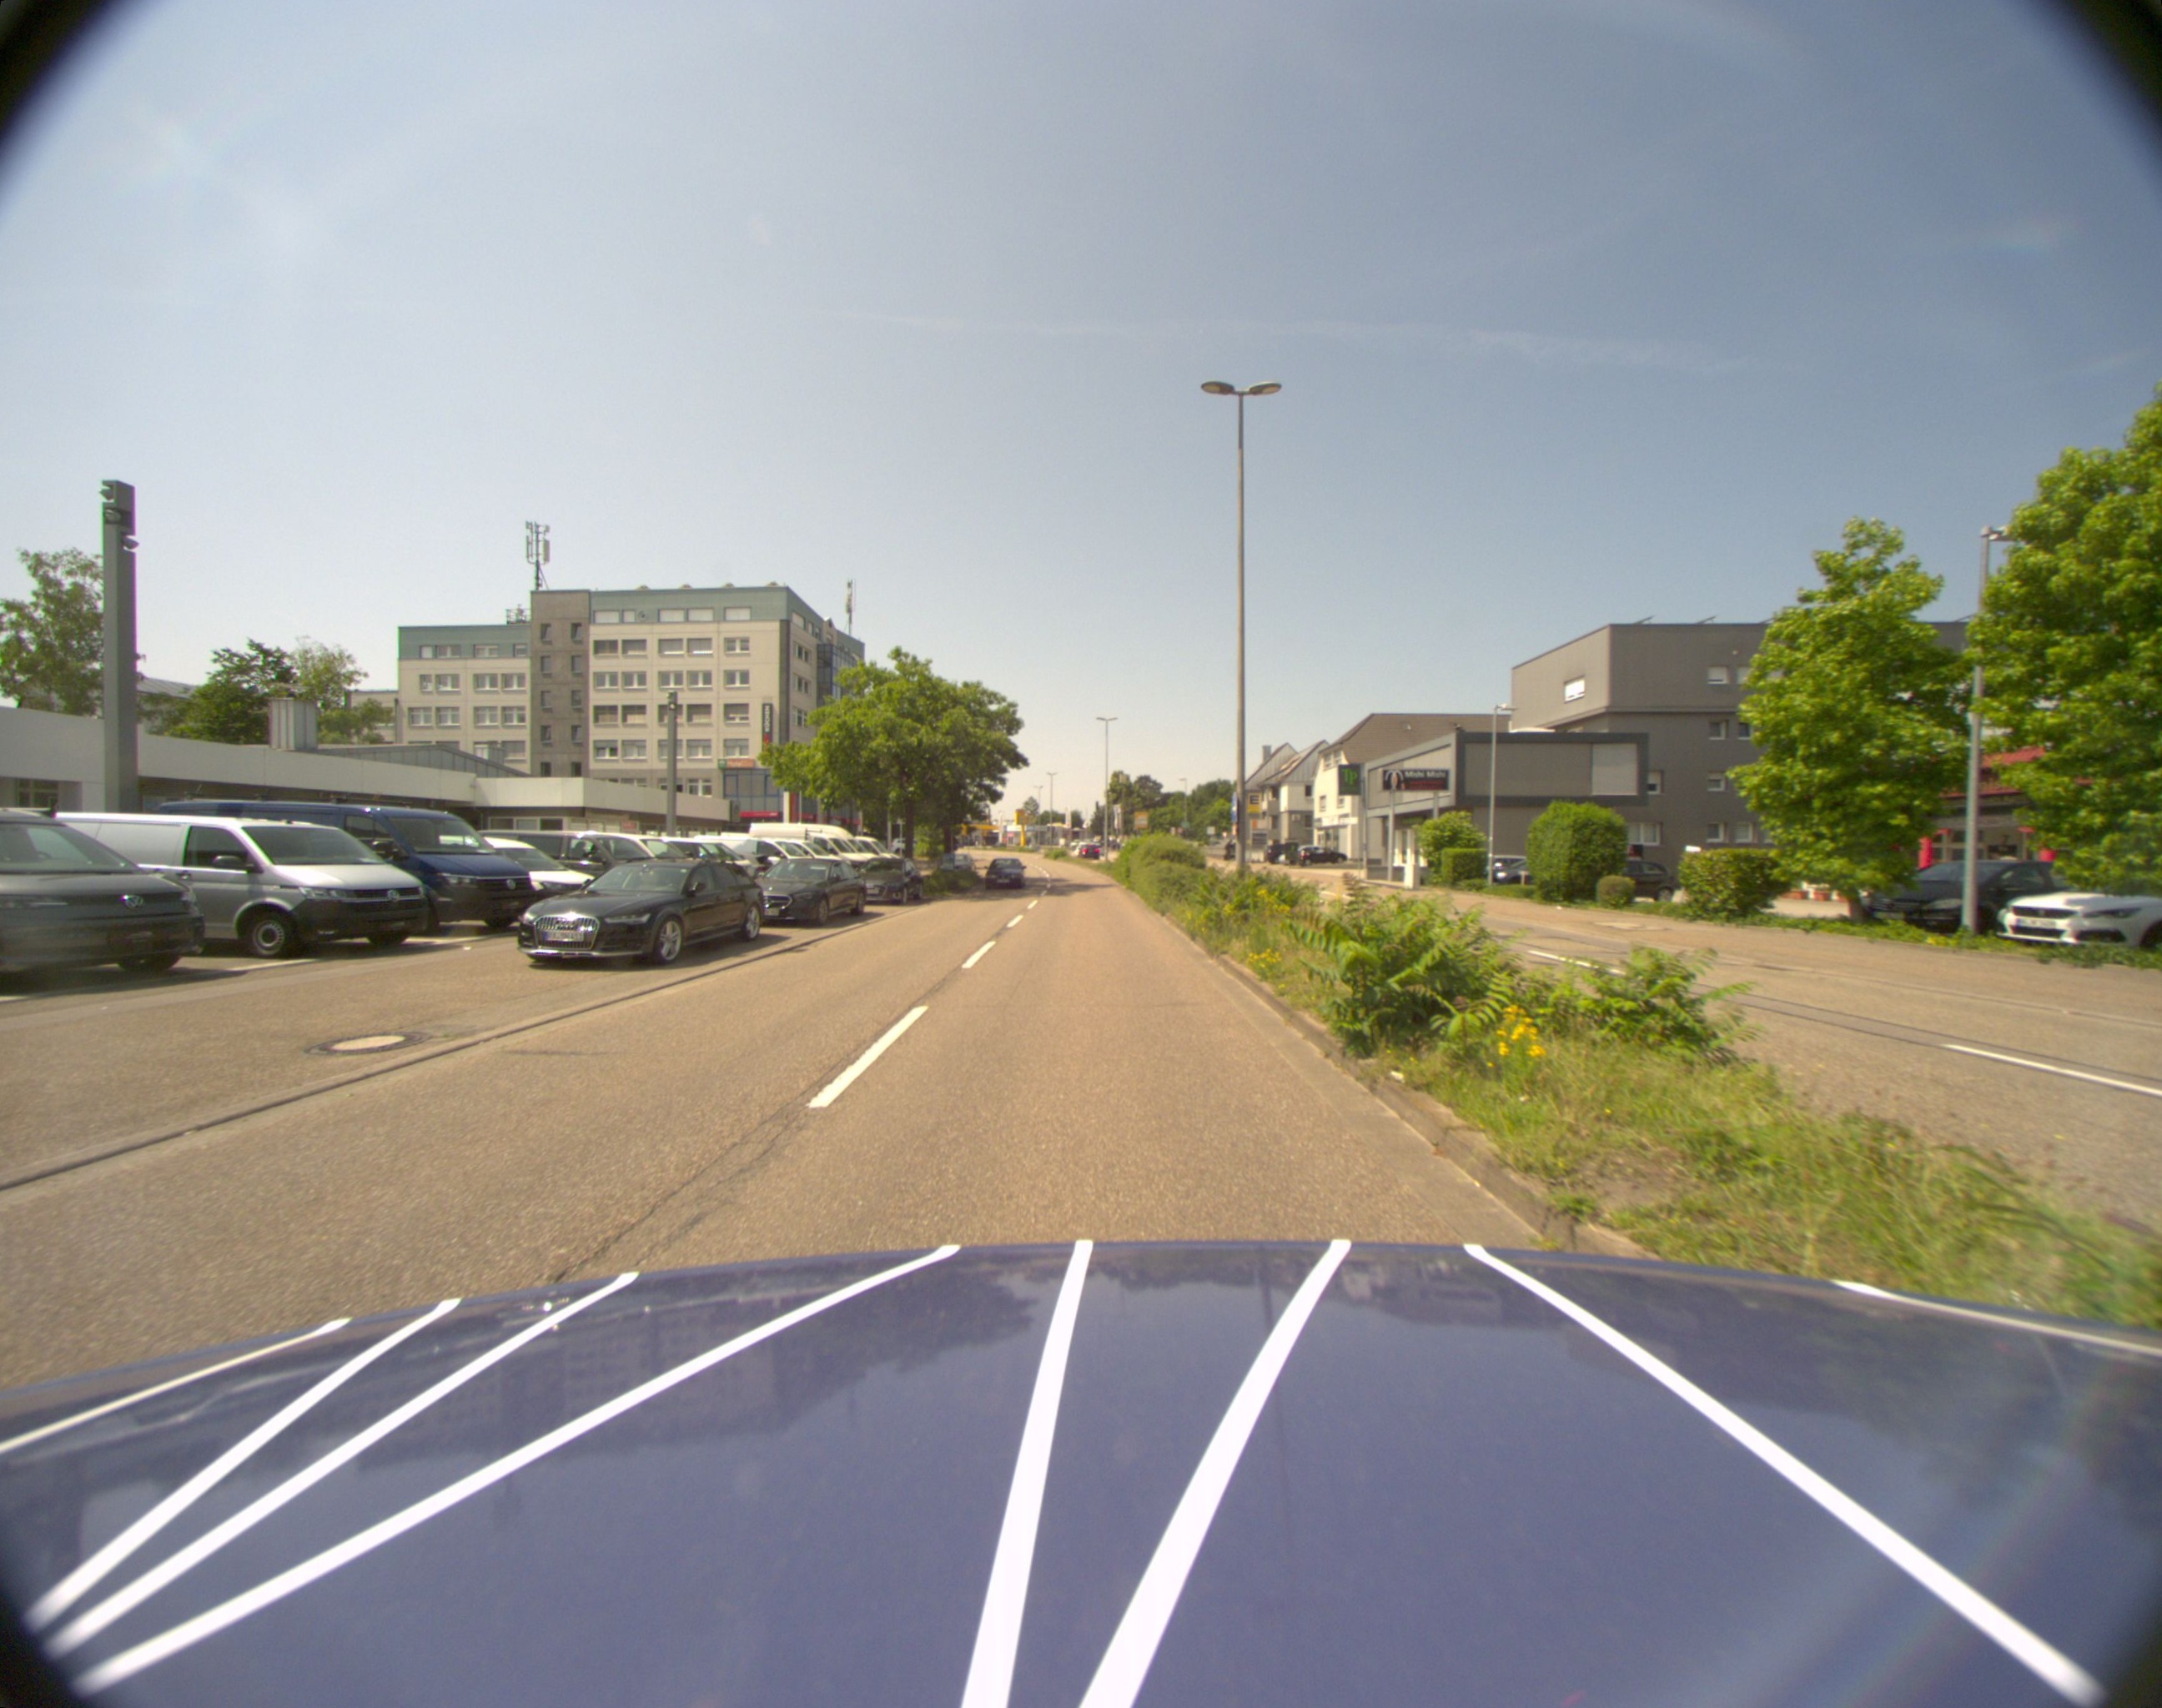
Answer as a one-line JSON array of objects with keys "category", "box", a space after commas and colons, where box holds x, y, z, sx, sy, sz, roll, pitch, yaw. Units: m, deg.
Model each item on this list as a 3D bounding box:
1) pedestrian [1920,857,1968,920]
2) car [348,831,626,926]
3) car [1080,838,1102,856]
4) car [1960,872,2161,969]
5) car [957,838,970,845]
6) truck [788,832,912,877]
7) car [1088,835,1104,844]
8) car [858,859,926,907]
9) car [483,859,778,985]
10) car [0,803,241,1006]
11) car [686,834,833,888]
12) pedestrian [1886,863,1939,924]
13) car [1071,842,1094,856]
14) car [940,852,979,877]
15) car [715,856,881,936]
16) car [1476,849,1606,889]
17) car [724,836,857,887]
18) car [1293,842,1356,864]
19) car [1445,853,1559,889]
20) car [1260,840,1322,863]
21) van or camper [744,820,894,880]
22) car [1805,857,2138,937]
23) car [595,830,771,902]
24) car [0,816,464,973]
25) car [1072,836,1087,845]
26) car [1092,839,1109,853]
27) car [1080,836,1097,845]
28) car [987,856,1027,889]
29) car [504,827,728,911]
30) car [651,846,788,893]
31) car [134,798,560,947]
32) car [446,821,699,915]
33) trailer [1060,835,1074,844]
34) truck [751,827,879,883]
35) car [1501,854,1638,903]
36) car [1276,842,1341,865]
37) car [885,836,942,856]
[{"category": "pedestrian", "box": [23.410, 0.919, 20.619, 0.547, 1.648, 0.625, -1, 3, -1]}, {"category": "car", "box": [-12.976, 0.521, 16.839, 4.579, 1.840, 1.951, 2, 0, 0]}, {"category": "car", "box": [1.058, -0.813, 80.696, 1.914, 1.741, 4.755, -1, 2, -5]}, {"category": "car", "box": [17.190, 1.042, 12.029, 4.234, 1.341, 1.980, 2, 1, 0]}, {"category": "car", "box": [-26.086, -2.732, 168.350, 1.871, 1.358, 4.338, 2, 1, -20]}, {"category": "truck", "box": [-13.071, 0.044, 43.319, 6.260, 2.323, 2.369, 1, 0, 2]}, {"category": "car", "box": [2.777, -2.698, 138.818, 1.712, 1.424, 3.967, 2, 3, 21]}, {"category": "car", "box": [-6.108, 0.878, 24.935, 1.687, 1.427, 4.436, 0, 0, -8]}, {"category": "car", "box": [-6.784, 0.894, 12.296, 1.860, 1.472, 5.154, 2, 1, -2]}, {"category": "car", "box": [-12.808, 0.539, 8.430, 4.798, 1.972, 2.004, -1, -1, 1]}, {"category": "car", "box": [-12.787, 0.264, 30.426, 4.925, 1.960, 2.141, 2, 1, 1]}, {"category": "pedestrian", "box": [22.125, 1.035, 20.234, 0.581, 1.570, 0.703, -1, 3, -1]}, {"category": "car", "box": [0.167, -0.587, 87.967, 1.869, 1.423, 4.739, -1, 2, -9]}, {"category": "car", "box": [-7.461, 0.610, 46.974, 1.802, 1.398, 4.318, -1, 1, -1]}, {"category": "car", "box": [-6.466, 0.865, 18.126, 1.966, 1.521, 5.160, 2, 1, 0]}, {"category": "car", "box": [17.935, 0.579, 29.732, 4.006, 1.363, 1.669, 2, 0, 3]}, {"category": "car", "box": [-12.582, 0.315, 33.129, 4.961, 2.101, 2.159, 1, 1, -1]}, {"category": "car", "box": [18.487, -0.086, 57.780, 4.068, 1.512, 1.999, 1, 2, -3]}, {"category": "car", "box": [17.829, 0.707, 32.299, 3.998, 1.451, 1.574, 0, 2, -4]}, {"category": "car", "box": [17.419, -0.202, 63.104, 4.617, 1.618, 1.853, -3, 1, 0]}, {"category": "van or camper", "box": [-13.255, -0.206, 38.766, 6.814, 2.881, 2.275, 1, 1, 0]}, {"category": "car", "box": [17.184, 0.787, 14.839, 4.159, 1.334, 2.042, 2, 1, -2]}, {"category": "car", "box": [-12.870, 0.340, 24.783, 4.520, 2.002, 2.197, 3, 2, 1]}, {"category": "car", "box": [-13.017, 0.516, 11.293, 5.907, 2.002, 2.259, 1, 0, 2]}, {"category": "car", "box": [-0.294, -2.592, 142.735, 1.754, 1.501, 3.823, 0, 3, 17]}, {"category": "car", "box": [2.523, -1.074, 99.747, 1.785, 1.620, 4.335, -3, 4, -4]}, {"category": "car", "box": [1.372, -2.579, 140.708, 1.914, 1.532, 3.967, 0, 3, 22]}, {"category": "car", "box": [-3.360, 0.800, 34.979, 1.698, 1.365, 3.998, 0, 1, -4]}, {"category": "car", "box": [-13.149, 0.400, 21.719, 5.077, 2.085, 2.040, 2, 1, 0]}, {"category": "car", "box": [-13.137, 0.564, 27.836, 4.035, 1.462, 1.913, 3, 0, -6]}, {"category": "car", "box": [-13.388, 0.300, 14.147, 5.856, 2.510, 2.204, -1, 2, 3]}, {"category": "car", "box": [-12.714, 0.339, 19.266, 4.912, 2.102, 2.129, 2, 0, 0]}, {"category": "trailer", "box": [-2.678, -2.857, 145.938, 1.689, 1.694, 2.438, 1, 3, 29]}, {"category": "truck", "box": [-12.503, 0.048, 35.927, 5.259, 2.422, 2.111, 2, 1, 2]}, {"category": "car", "box": [16.621, 0.804, 25.983, 3.489, 1.522, 1.777, -1, 3, 2]}, {"category": "car", "box": [18.088, -0.052, 60.440, 4.620, 1.488, 1.751, -4, 1, -7]}, {"category": "car", "box": [-15.516, -0.767, 70.355, 4.746, 1.704, 1.995, -2, 3, -25]}]
